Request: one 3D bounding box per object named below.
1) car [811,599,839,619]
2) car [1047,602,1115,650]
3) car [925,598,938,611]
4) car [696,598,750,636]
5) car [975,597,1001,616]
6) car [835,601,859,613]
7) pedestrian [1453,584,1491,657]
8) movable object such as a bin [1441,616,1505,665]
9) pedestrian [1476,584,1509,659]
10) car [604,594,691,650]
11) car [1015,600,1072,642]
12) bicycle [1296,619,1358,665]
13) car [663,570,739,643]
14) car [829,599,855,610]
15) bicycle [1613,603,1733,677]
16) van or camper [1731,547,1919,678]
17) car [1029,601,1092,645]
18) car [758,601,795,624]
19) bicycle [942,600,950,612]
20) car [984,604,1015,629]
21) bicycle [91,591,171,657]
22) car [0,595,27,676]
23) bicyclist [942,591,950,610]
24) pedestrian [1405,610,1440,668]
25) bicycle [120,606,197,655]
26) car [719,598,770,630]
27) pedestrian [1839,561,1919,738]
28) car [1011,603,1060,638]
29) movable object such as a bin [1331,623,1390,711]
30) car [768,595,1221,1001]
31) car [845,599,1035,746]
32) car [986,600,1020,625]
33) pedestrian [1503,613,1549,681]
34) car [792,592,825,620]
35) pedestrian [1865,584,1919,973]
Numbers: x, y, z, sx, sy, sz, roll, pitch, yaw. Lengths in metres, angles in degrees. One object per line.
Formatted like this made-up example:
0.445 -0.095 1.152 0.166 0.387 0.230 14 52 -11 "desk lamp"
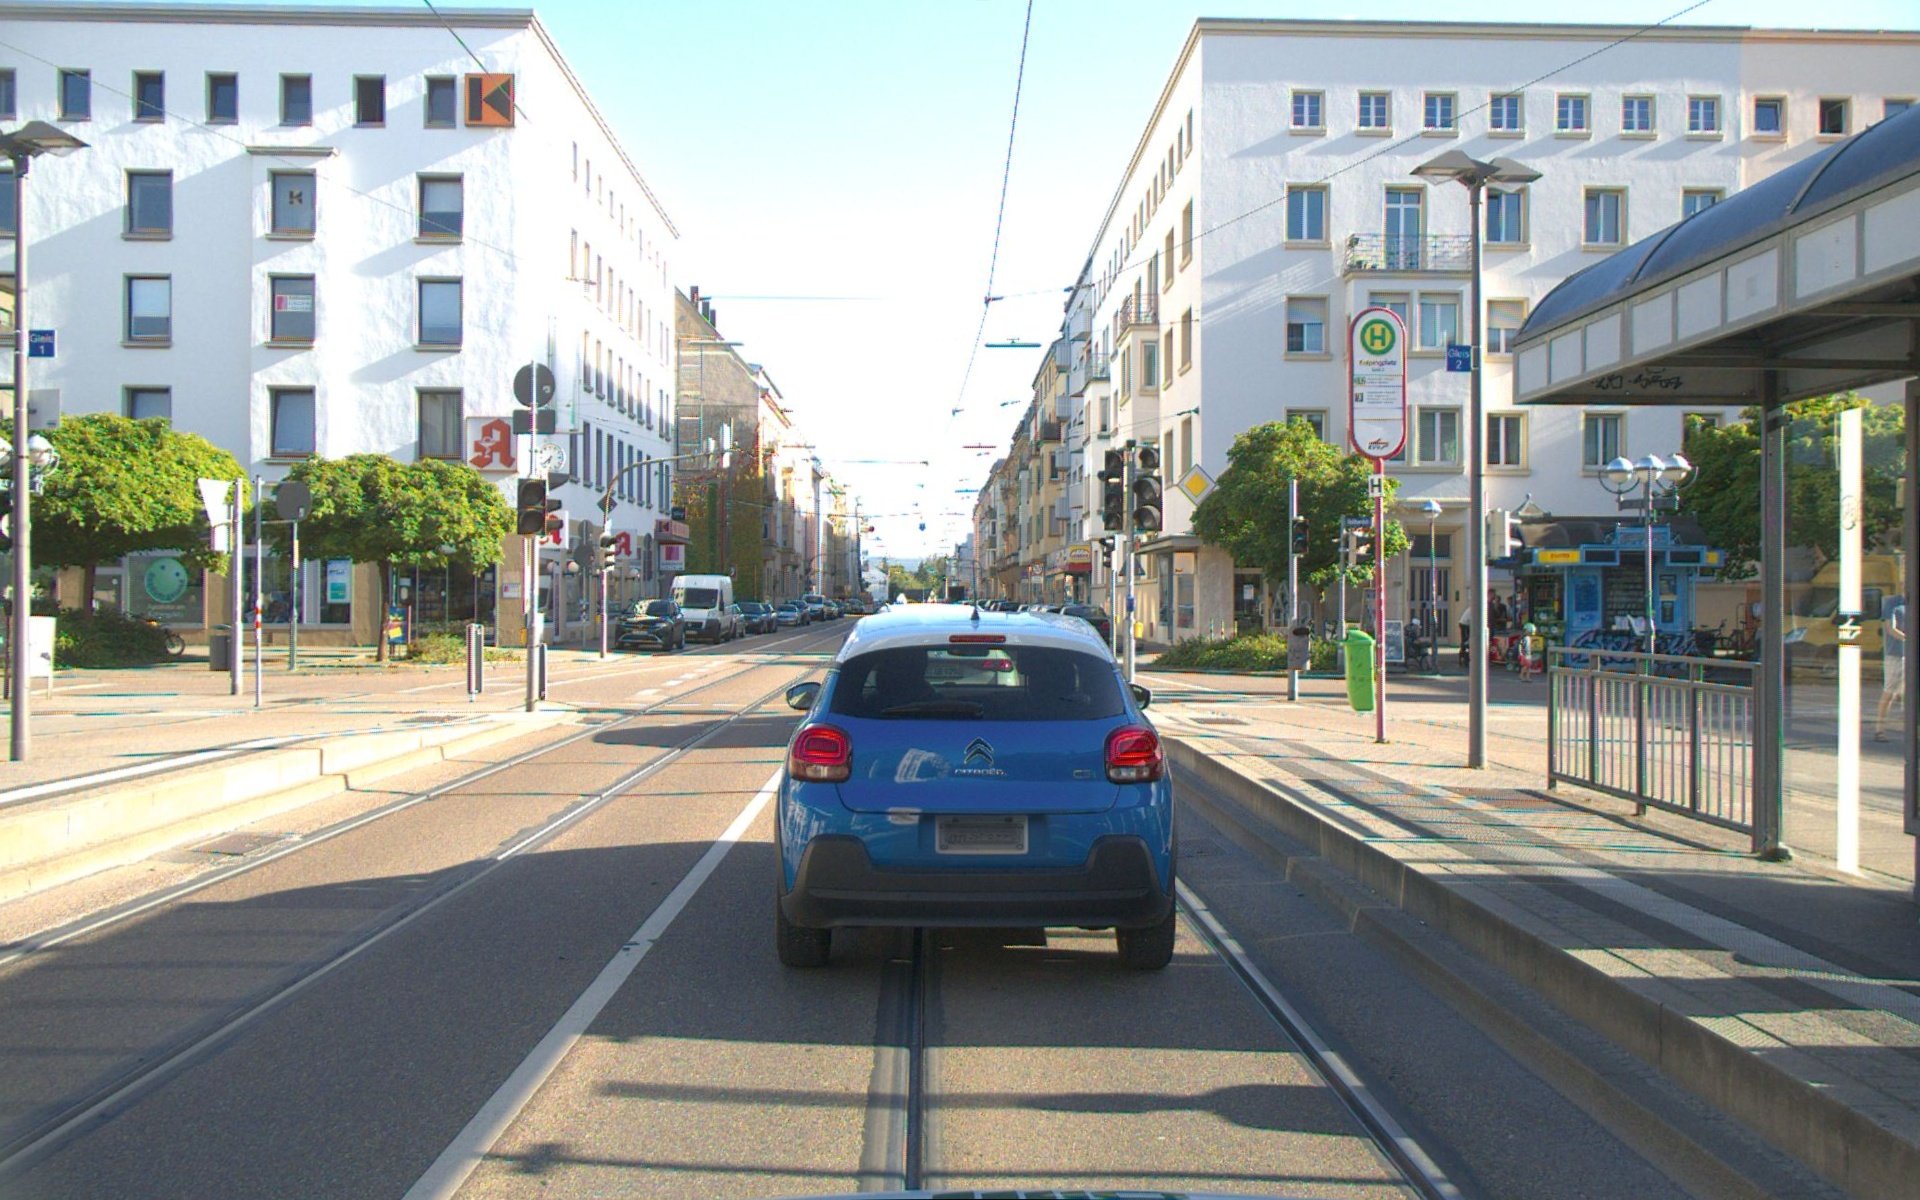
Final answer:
-11.131 0.759 136.749 1.914 1.579 3.939 1 -1 1 "car"
3.798 0.797 52.402 1.870 1.490 4.000 0 0 0 "car"
-4.103 0.654 238.440 1.953 1.803 3.999 0 0 -1 "car"
-9.888 0.725 69.230 1.850 1.522 3.560 1 -1 -2 "car"
2.236 0.501 132.971 1.953 1.490 4.000 0 0 0 "car"
-10.498 0.647 153.660 1.953 1.176 4.000 0 0 0 "car"
13.139 0.516 42.462 0.768 1.871 0.678 0 0 2 "pedestrian"
12.467 0.979 40.231 1.174 1.173 1.217 0 0 0 "movable object such as a bin"
13.342 0.539 41.453 0.639 1.871 0.659 0 0 2 "pedestrian"
-9.774 0.686 52.072 1.953 1.596 4.401 3 -1 -2 "car"
3.138 0.777 62.778 1.953 1.527 4.000 0 0 0 "car"
9.439 1.084 42.550 1.534 1.140 0.300 1 -1 10 "bicycle"
-9.717 0.232 62.437 2.043 2.586 6.203 1 0 -2 "car"
-13.112 0.485 184.442 1.951 1.176 4.518 0 0 8 "car"
15.900 0.882 36.890 2.336 1.558 0.726 2 0 -2 "bicycle"
21.078 0.242 36.544 6.976 2.795 2.371 0 1 0 "van or camper"
3.447 0.777 57.418 1.953 1.490 4.000 0 0 0 "car"
-11.373 0.784 102.847 1.953 1.348 3.921 1 -1 -2 "car"
-1.540 0.656 186.212 0.901 1.413 3.131 0 0 0 "bicycle"
2.596 1.083 109.367 1.953 1.579 4.000 0 0 0 "car"
-21.323 0.605 42.608 0.605 1.635 2.621 0 0 3 "bicycle"
-22.379 0.746 35.248 3.906 1.736 1.825 0 0 -1 "car"
-1.560 0.067 186.168 0.793 2.049 0.922 1 -1 -2 "bicyclist"
10.906 0.916 39.013 0.725 1.339 0.628 0 0 22 "pedestrian"
-20.614 0.763 42.594 0.605 1.211 2.621 0 0 2 "bicycle"
-10.067 0.658 77.624 1.953 1.422 4.155 1 -1 -2 "car"
10.565 0.542 18.383 0.961 1.910 1.128 0 -1 -3 "pedestrian"
3.265 0.865 72.311 1.953 1.490 4.000 0 0 0 "car"
3.740 0.620 15.461 0.439 0.800 0.489 0 0 2 "movable object such as a bin"
0.101 0.754 8.177 1.693 1.508 3.826 1 0 -1 "car"
-0.245 0.750 19.523 1.944 1.490 4.814 1 0 -1 "car"
2.617 0.752 101.861 1.953 1.490 4.504 0 0 0 "car"
12.422 1.018 36.314 0.715 1.434 0.755 0 3 -1 "pedestrian"
-11.549 0.446 126.358 1.965 2.049 4.690 1 -1 1 "car"
3.585 0.594 5.152 0.978 1.247 0.923 3 -1 -1 "pedestrian"
